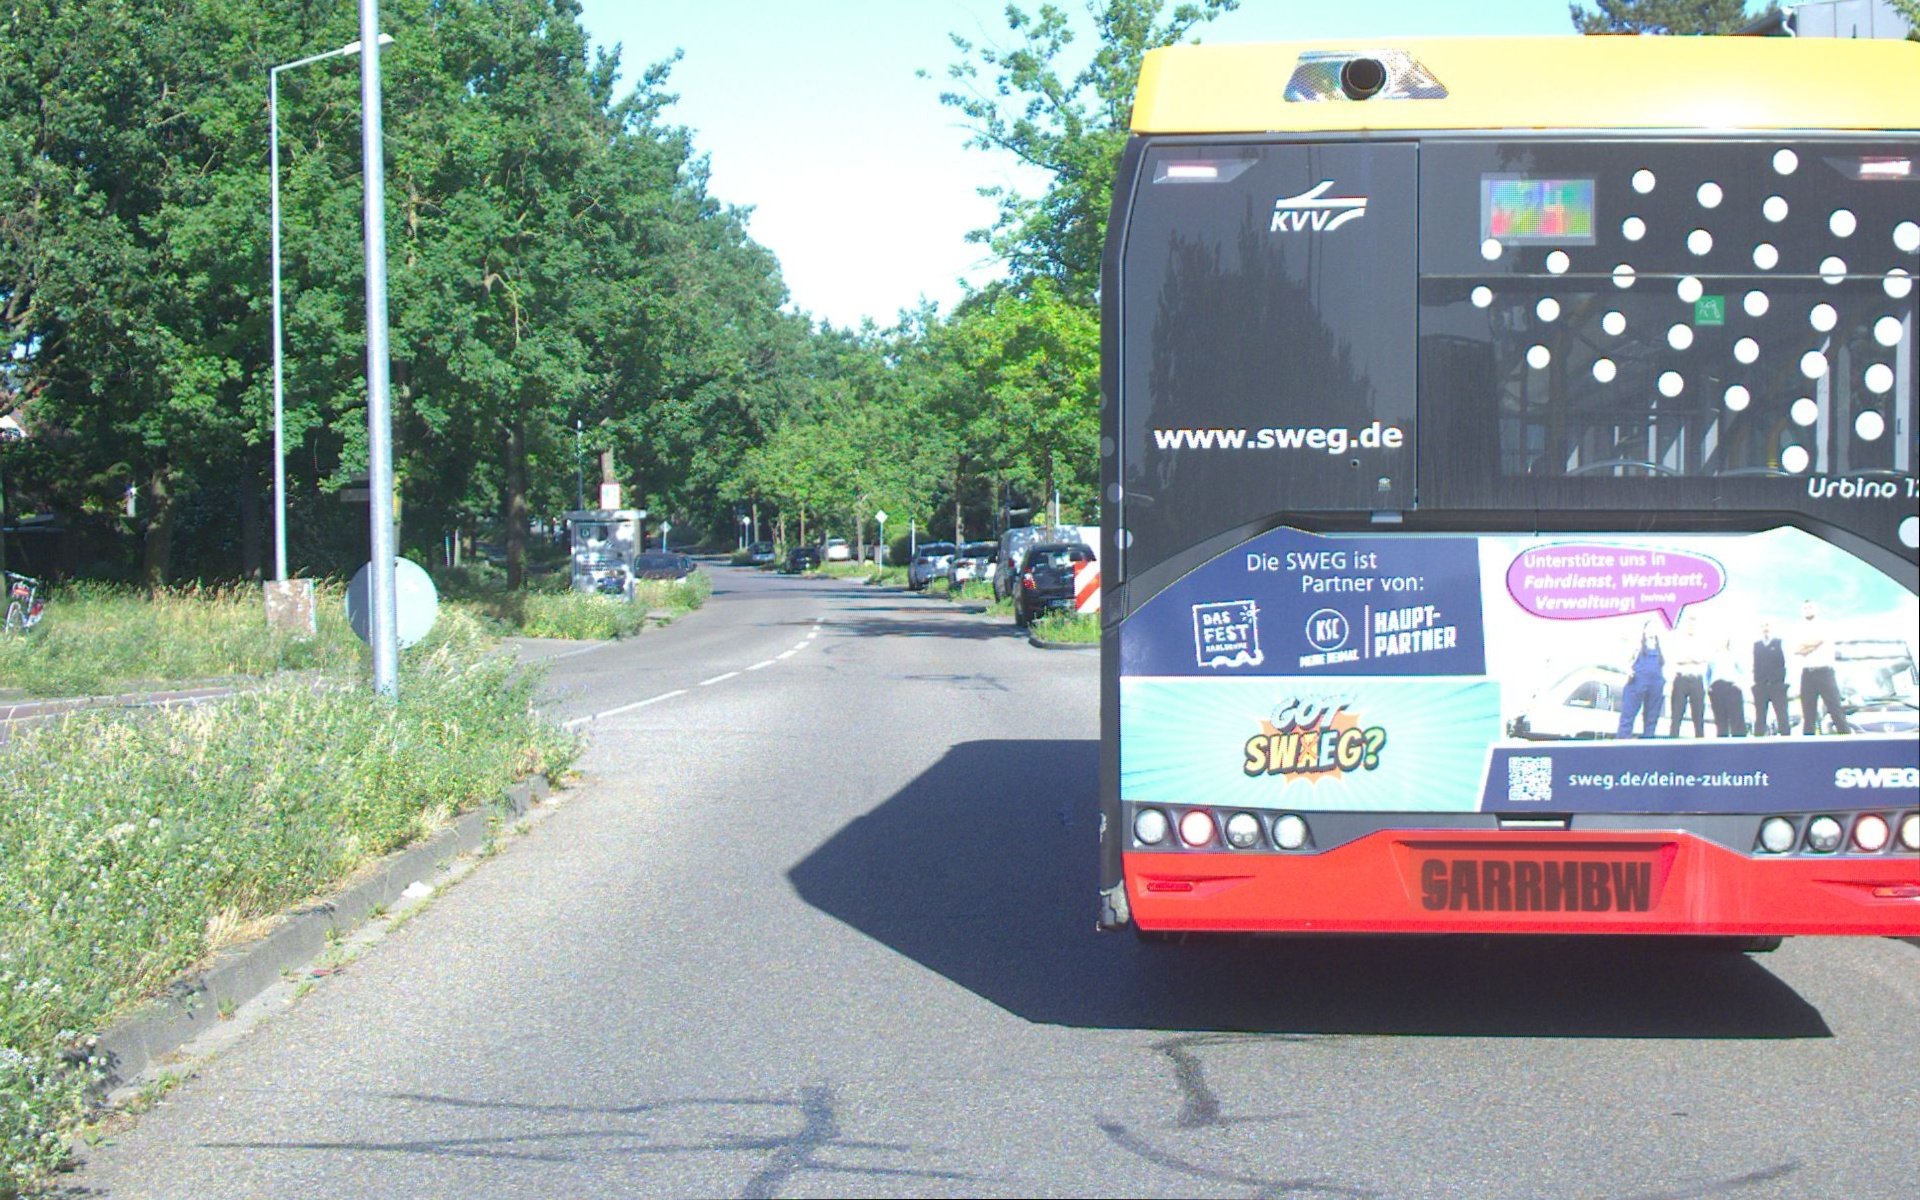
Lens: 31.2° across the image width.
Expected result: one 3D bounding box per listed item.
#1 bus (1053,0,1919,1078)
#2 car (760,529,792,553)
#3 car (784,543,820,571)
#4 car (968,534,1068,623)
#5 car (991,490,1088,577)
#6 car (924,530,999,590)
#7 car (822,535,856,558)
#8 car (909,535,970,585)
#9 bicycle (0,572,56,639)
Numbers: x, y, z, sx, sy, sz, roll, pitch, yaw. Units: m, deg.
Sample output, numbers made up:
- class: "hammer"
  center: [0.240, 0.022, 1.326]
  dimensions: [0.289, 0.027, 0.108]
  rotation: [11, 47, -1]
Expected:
- class: "bus"
  center: [2.059, -0.432, 15.971]
  dimensions: [2.758, 3.446, 12.396]
  rotation: [-1, 0, 4]
- class: "car"
  center: [-11.604, -3.711, 216.593]
  dimensions: [1.933, 1.449, 4.001]
  rotation: [-1, 1, -5]
- class: "car"
  center: [-8.827, -2.420, 191.918]
  dimensions: [1.933, 1.537, 4.001]
  rotation: [-1, 1, -3]
- class: "car"
  center: [1.068, -0.429, 64.778]
  dimensions: [1.672, 1.573, 3.752]
  rotation: [-2, 1, -1]
- class: "car"
  center: [1.823, -1.549, 80.194]
  dimensions: [1.835, 1.964, 4.759]
  rotation: [-1, 1, -3]
- class: "car"
  center: [0.030, -1.167, 100.349]
  dimensions: [1.935, 1.698, 4.001]
  rotation: [-1, 1, -3]
- class: "car"
  center: [-7.695, -3.386, 218.096]
  dimensions: [1.933, 1.449, 4.001]
  rotation: [-1, 1, -5]
- class: "car"
  center: [-0.757, -1.447, 122.831]
  dimensions: [1.933, 1.736, 4.001]
  rotation: [-1, 1, -3]
- class: "bicycle"
  center: [-15.151, 0.080, 55.737]
  dimensions: [0.505, 1.050, 1.880]
  rotation: [-1, 1, -1]
